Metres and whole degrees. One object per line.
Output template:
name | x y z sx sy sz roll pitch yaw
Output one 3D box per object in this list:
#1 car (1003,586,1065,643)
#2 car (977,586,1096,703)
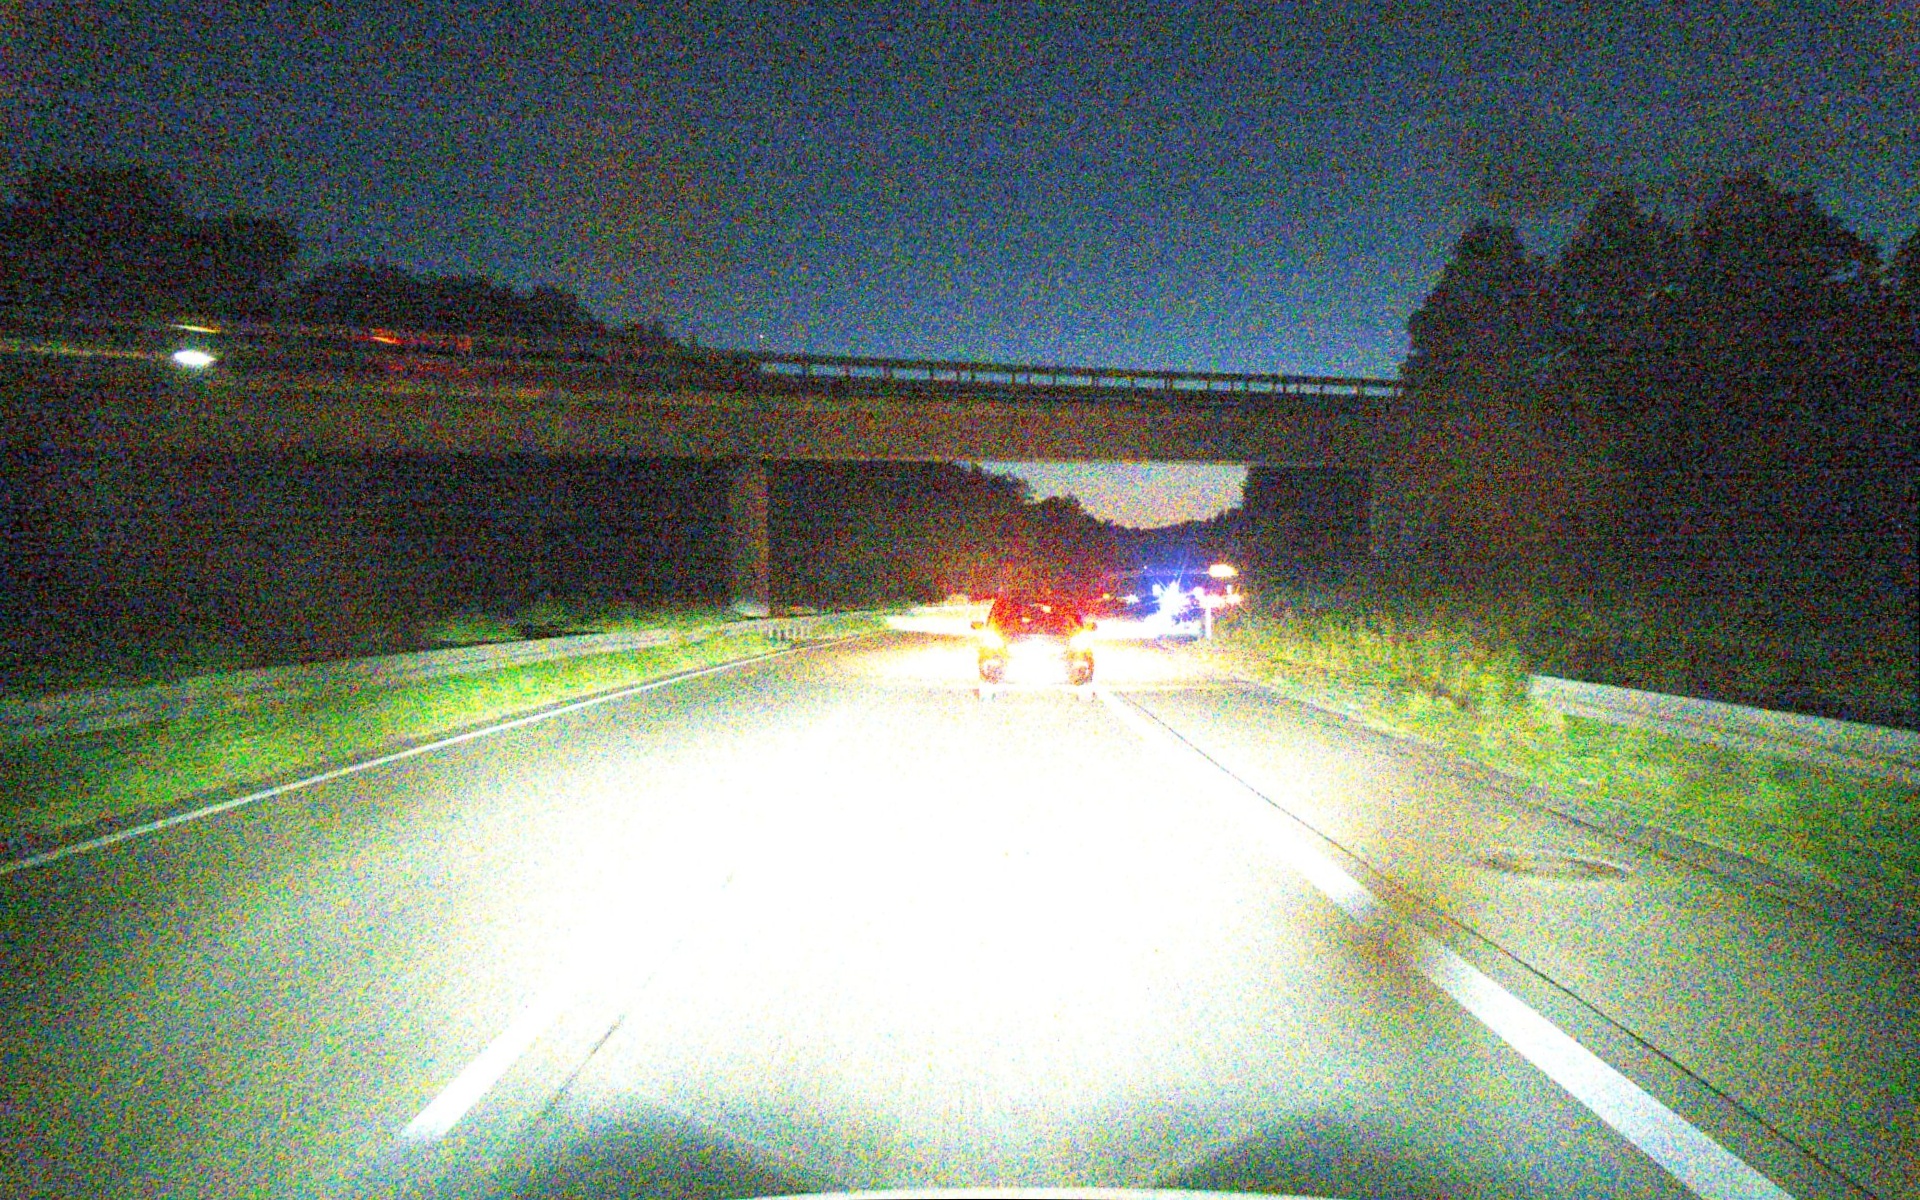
car | 2.295 0.429 52.185 1.867 1.728 4.001 0 1 2
car | 1.045 0.582 24.100 1.555 1.534 4.000 1 0 1
